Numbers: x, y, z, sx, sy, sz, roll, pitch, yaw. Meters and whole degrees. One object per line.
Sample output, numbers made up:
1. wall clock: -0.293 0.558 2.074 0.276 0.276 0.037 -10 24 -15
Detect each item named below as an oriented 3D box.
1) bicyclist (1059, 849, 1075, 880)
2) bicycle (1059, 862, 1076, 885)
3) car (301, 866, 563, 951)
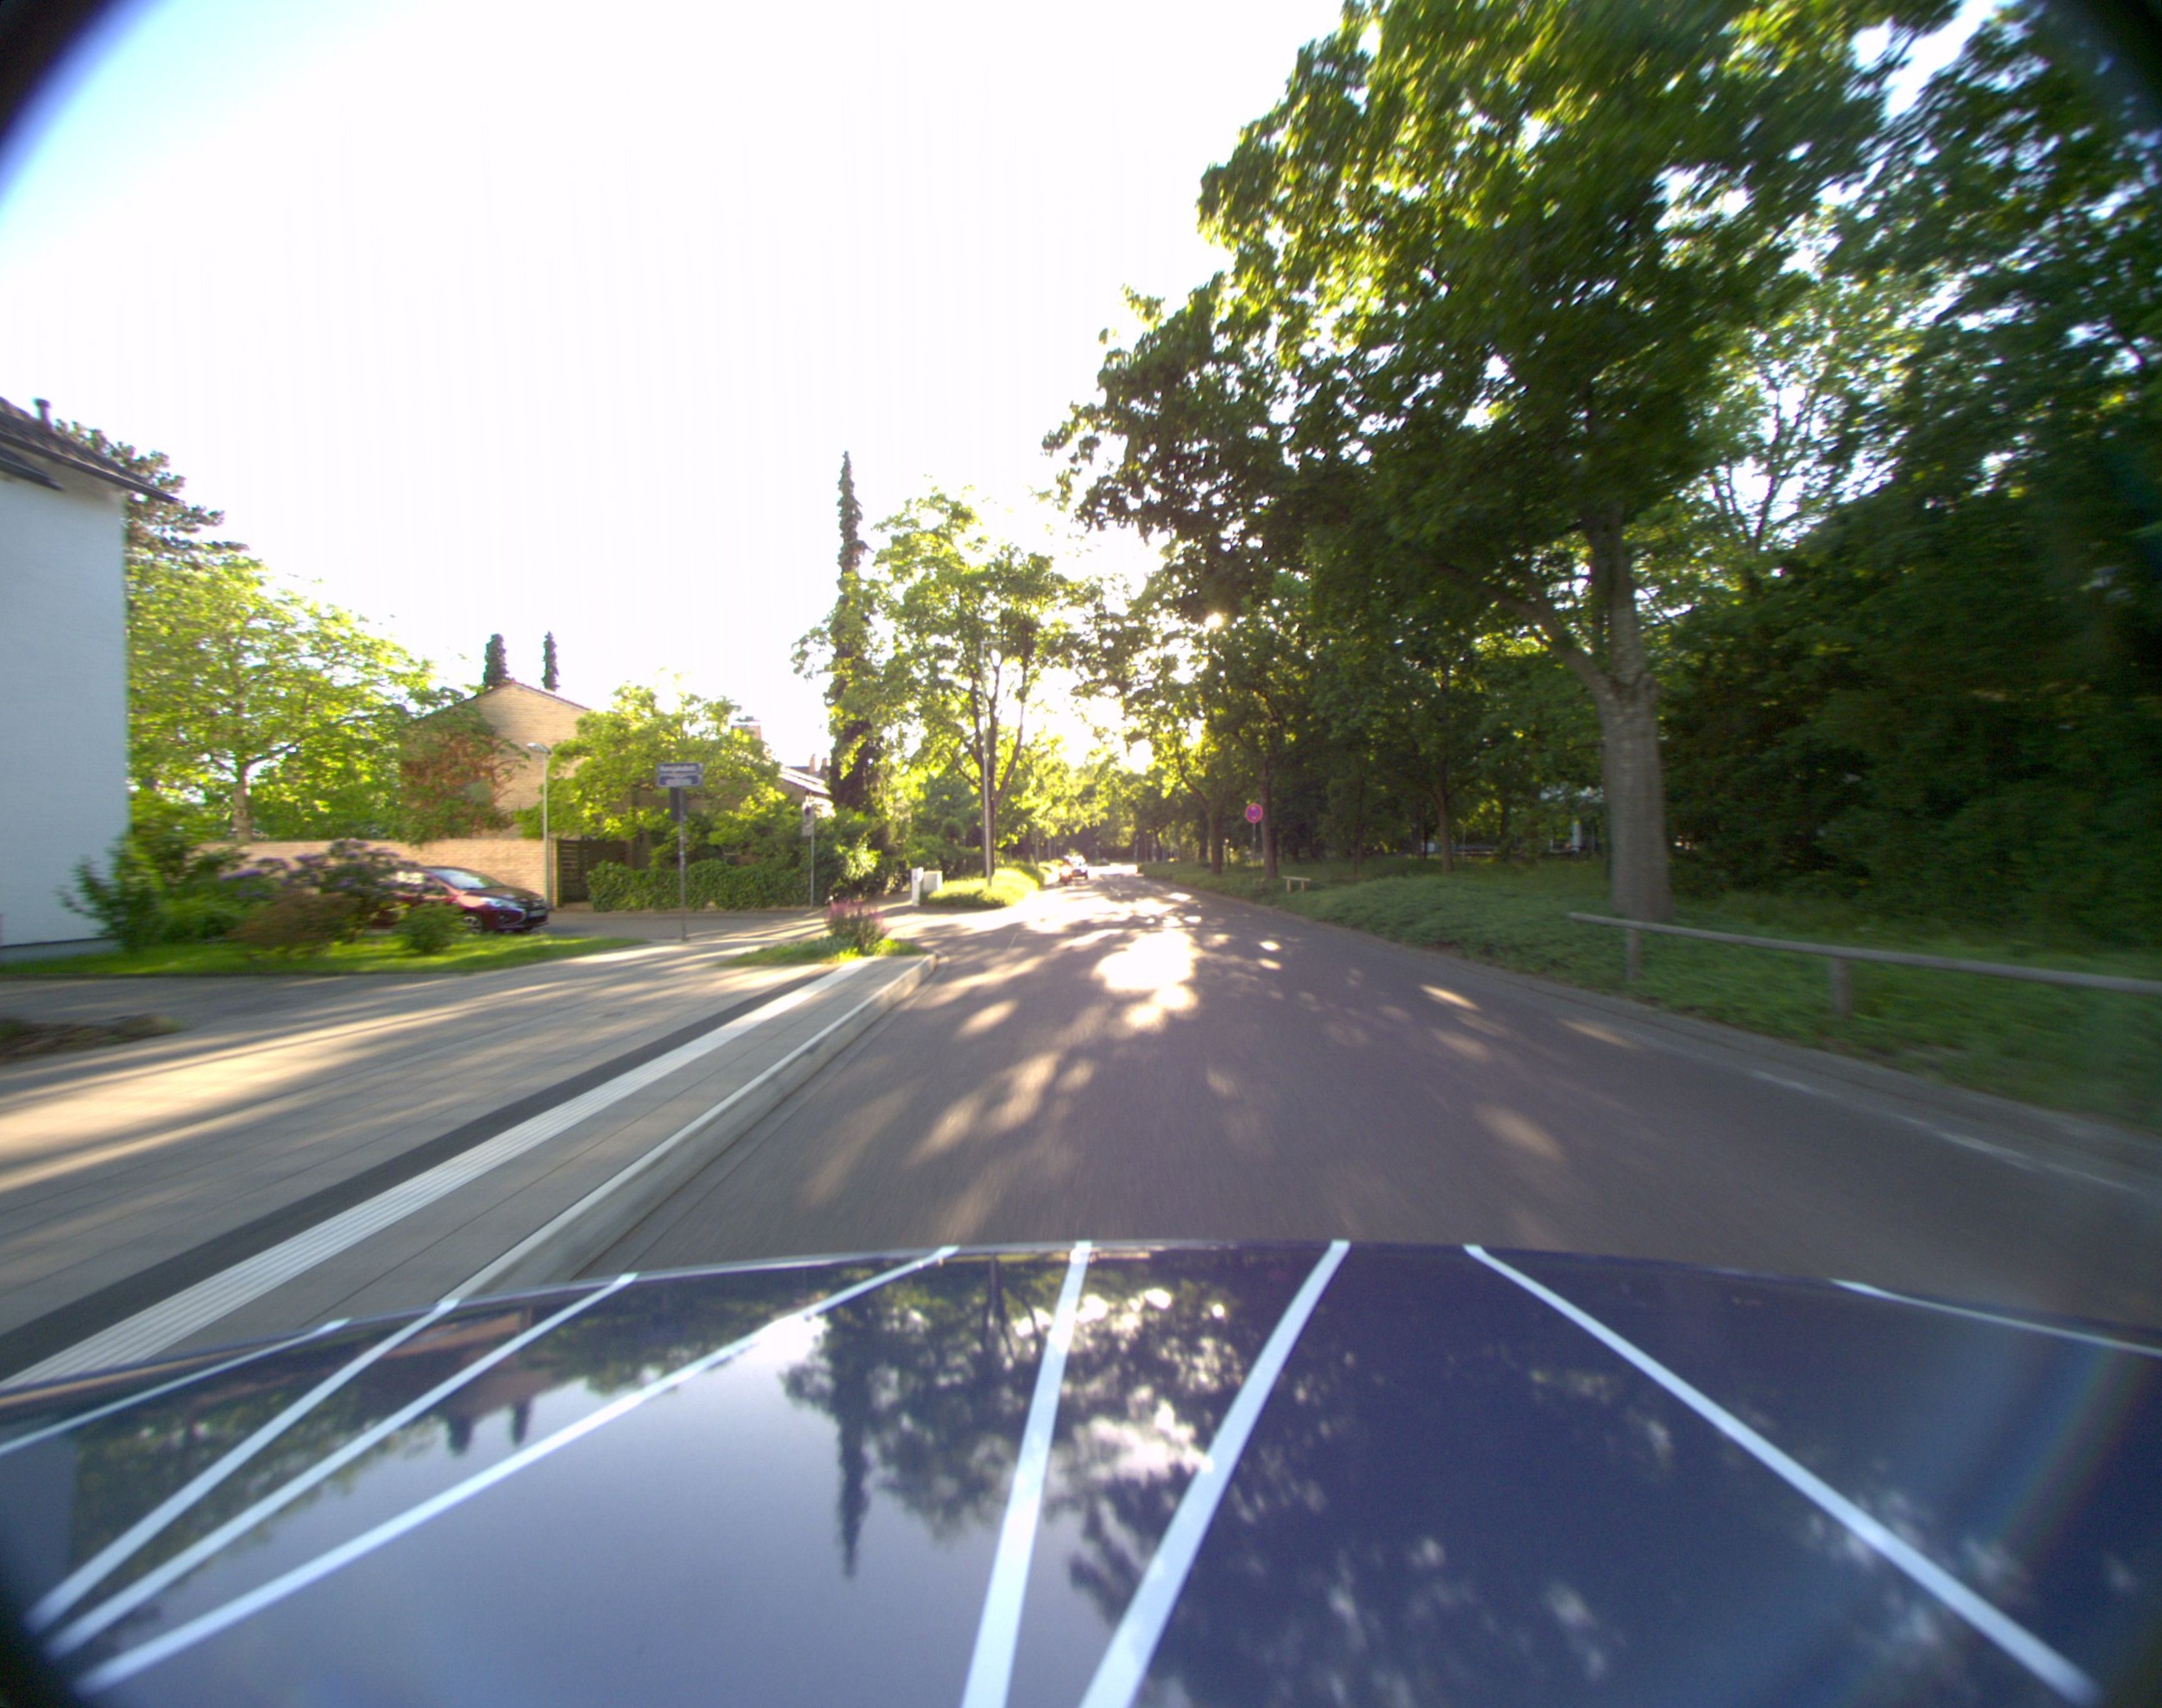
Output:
1. bicyclist: -0.767 0.582 41.293 0.819 1.635 0.744 -3 1 -1
2. bicycle: -0.740 1.061 41.398 0.829 1.182 2.302 -2 0 -1
3. car: -13.133 1.060 15.583 3.742 1.493 1.690 -1 0 -5
